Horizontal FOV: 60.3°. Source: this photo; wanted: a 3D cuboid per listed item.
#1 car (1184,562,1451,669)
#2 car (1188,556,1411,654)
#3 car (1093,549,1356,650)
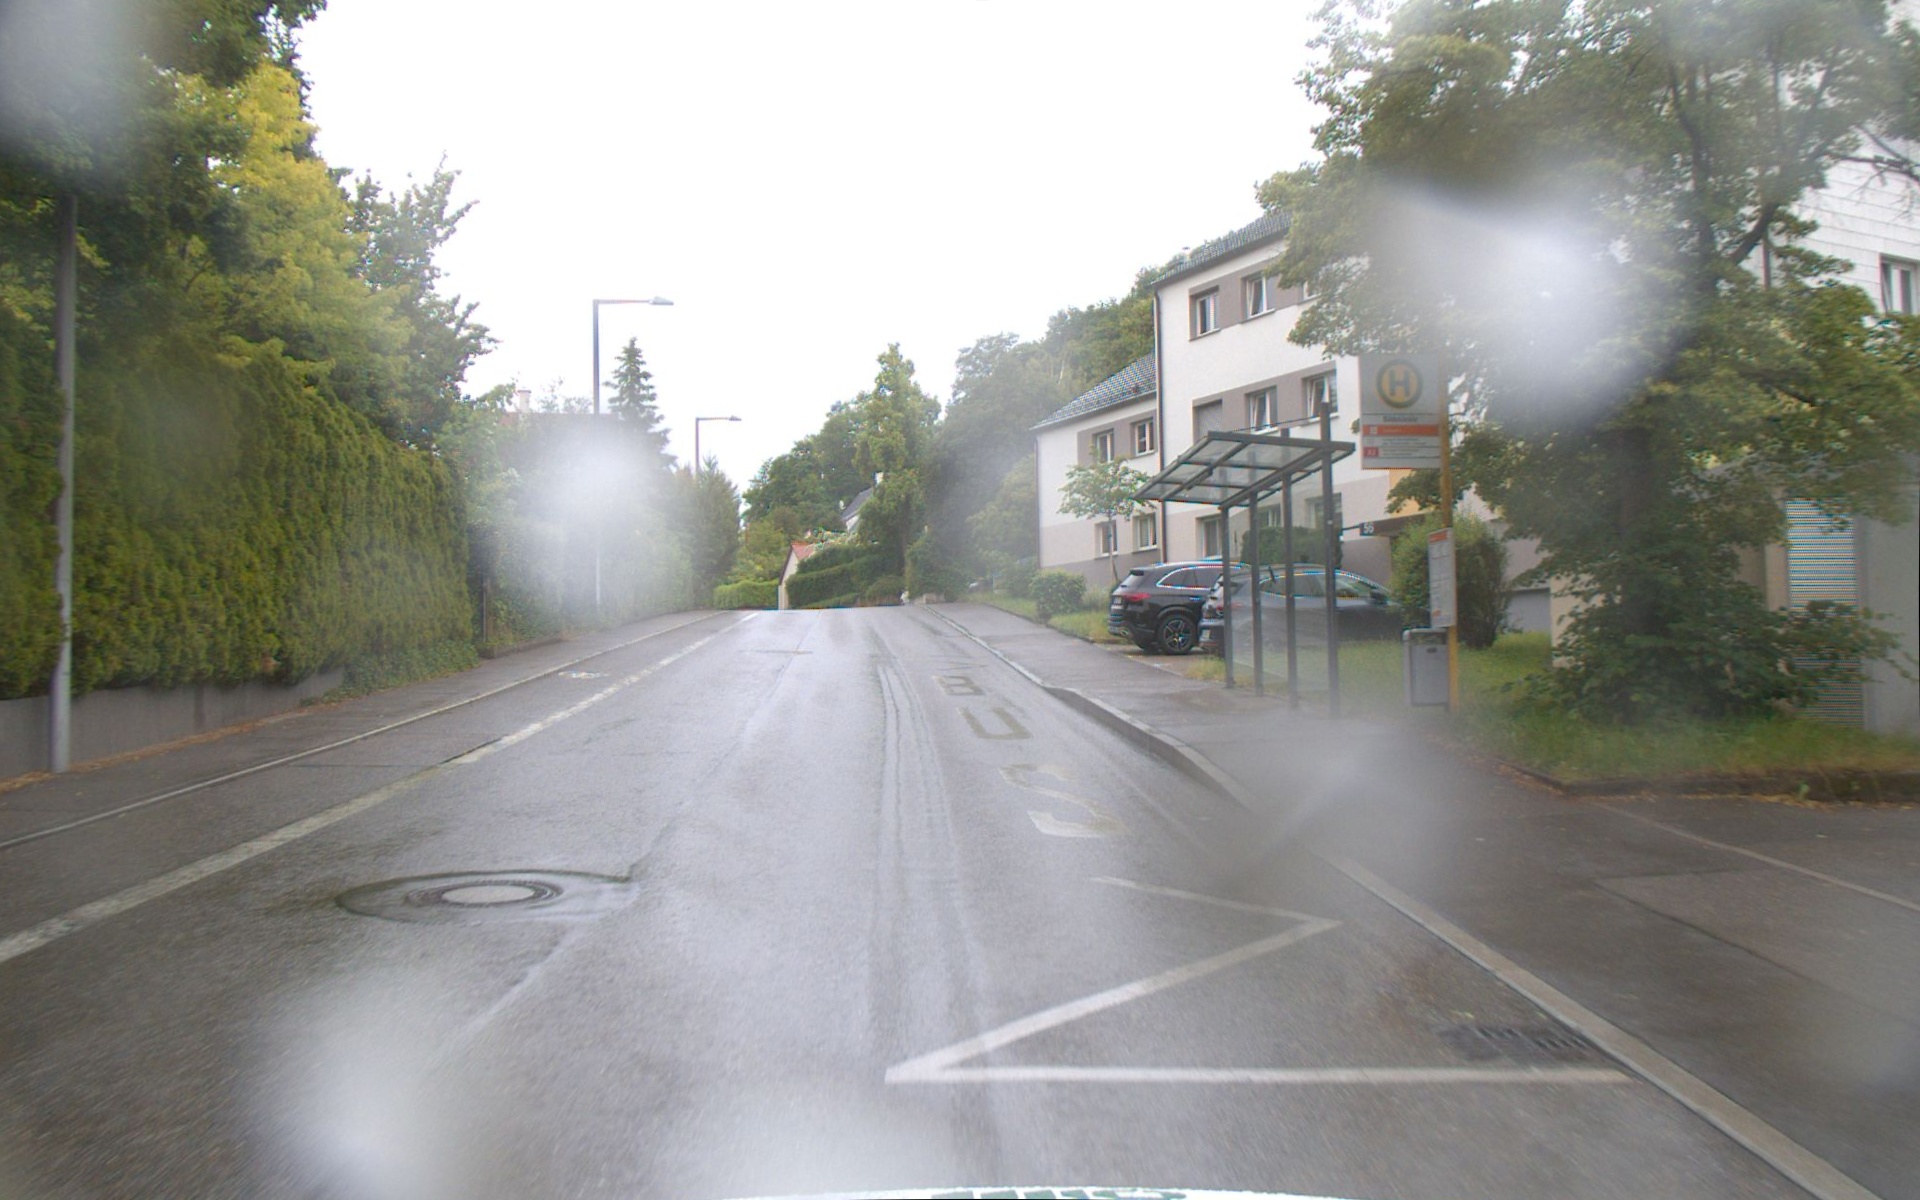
[{"bbox_3d":[5.466,0.210,25.515,3.670,1.484,1.723,-2,1,-5],"label":"car"},{"bbox_3d":[5.740,0.060,28.161,3.372,1.522,1.666,-2,1,-5],"label":"car"},{"bbox_3d":[4.864,-0.049,30.649,4.444,1.689,1.852,-2,1,-10],"label":"car"}]
